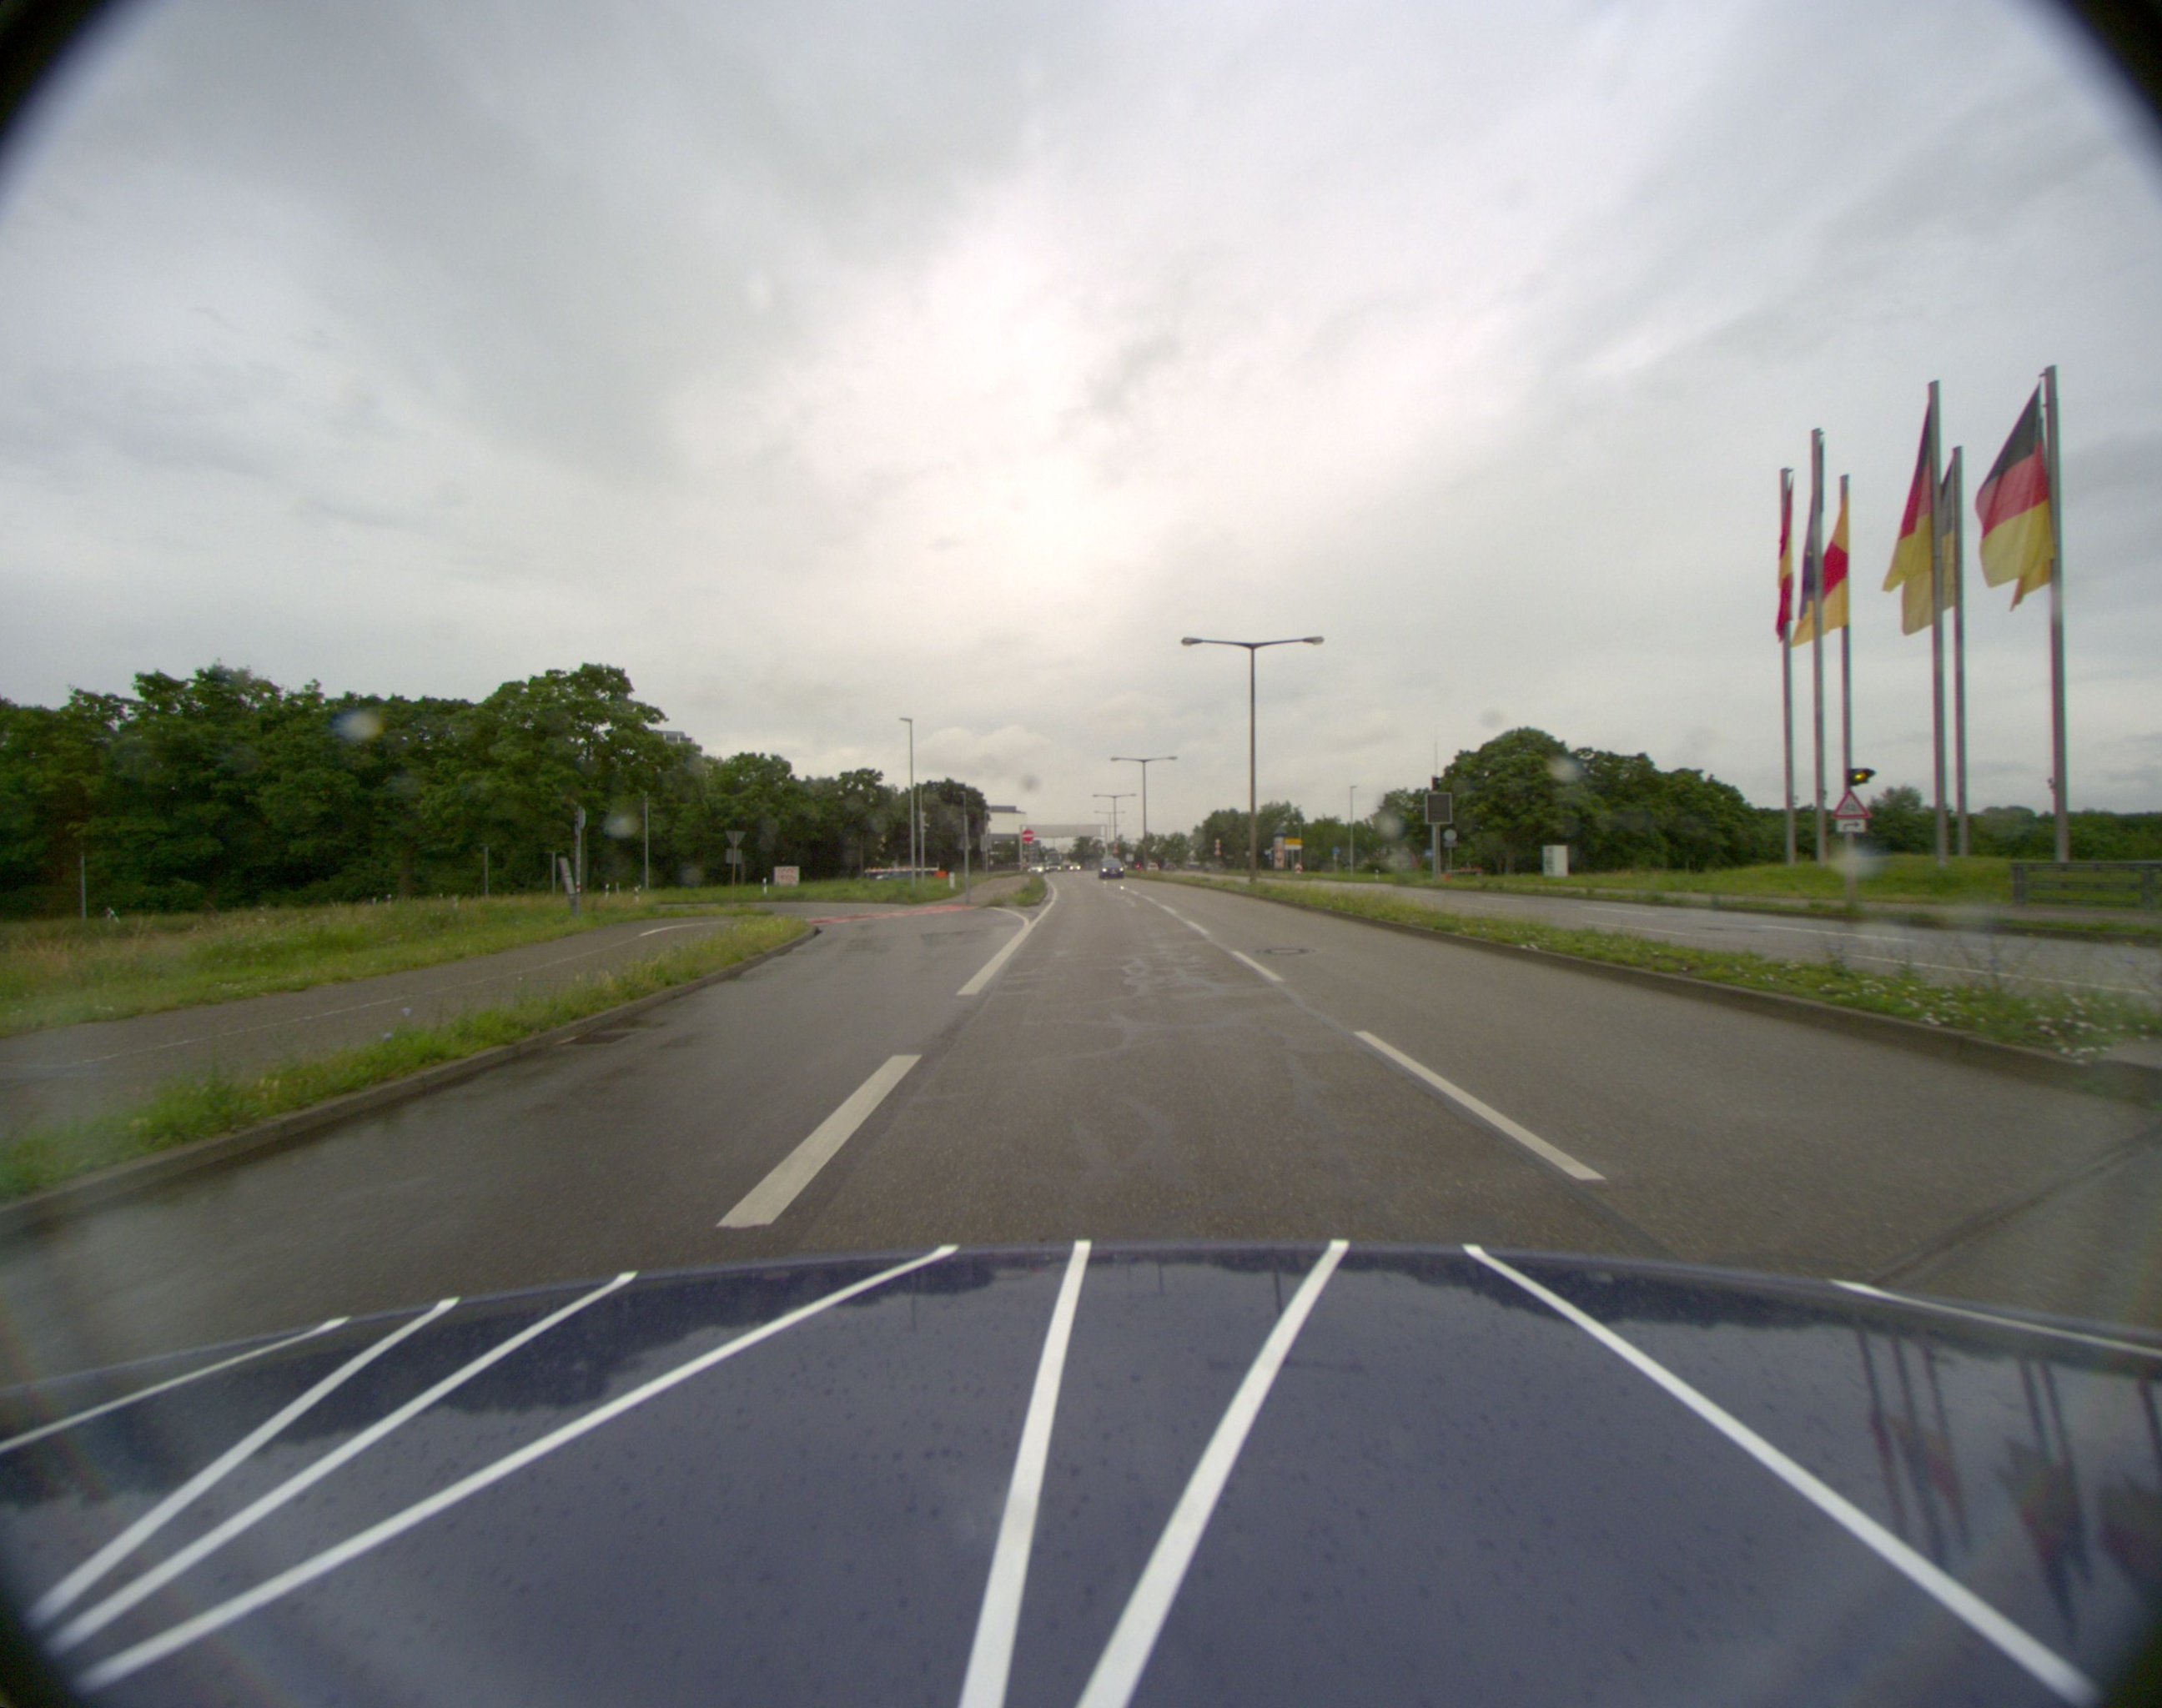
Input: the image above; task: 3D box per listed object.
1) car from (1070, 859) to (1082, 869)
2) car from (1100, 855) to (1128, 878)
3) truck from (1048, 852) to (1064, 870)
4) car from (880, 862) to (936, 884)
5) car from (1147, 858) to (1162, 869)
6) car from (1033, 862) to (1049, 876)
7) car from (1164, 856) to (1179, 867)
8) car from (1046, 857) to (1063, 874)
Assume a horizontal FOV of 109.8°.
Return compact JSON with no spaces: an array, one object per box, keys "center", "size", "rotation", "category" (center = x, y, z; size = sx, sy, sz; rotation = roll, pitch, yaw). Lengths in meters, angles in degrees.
[{"center":[-0.963,1.808,142.829],"size":[1.999,1.701,3.999],"rotation":[-2,1,-1],"category":"car"},{"center":[2.733,1.014,64.149],"size":[1.851,1.740,4.815],"rotation":[-3,1,-3],"category":"car"},{"center":[-4.640,1.200,143.585],"size":[2.860,3.197,8.096],"rotation":[-2,1,-1],"category":"truck"},{"center":[-16.360,1.750,72.071],"size":[4.825,1.740,1.847],"rotation":[-4,2,-41],"category":"car"},{"center":[11.810,1.498,122.655],"size":[1.850,1.612,4.031],"rotation":[-2,0,-1],"category":"car"},{"center":[-5.307,2.015,101.324],"size":[1.841,1.739,3.999],"rotation":[-2,0,-1],"category":"car"},{"center":[15.851,1.334,133.339],"size":[1.851,1.740,4.030],"rotation":[-2,0,-3],"category":"car"},{"center":[-3.885,1.659,111.842],"size":[2.252,2.249,5.170],"rotation":[-2,0,-1],"category":"car"}]
